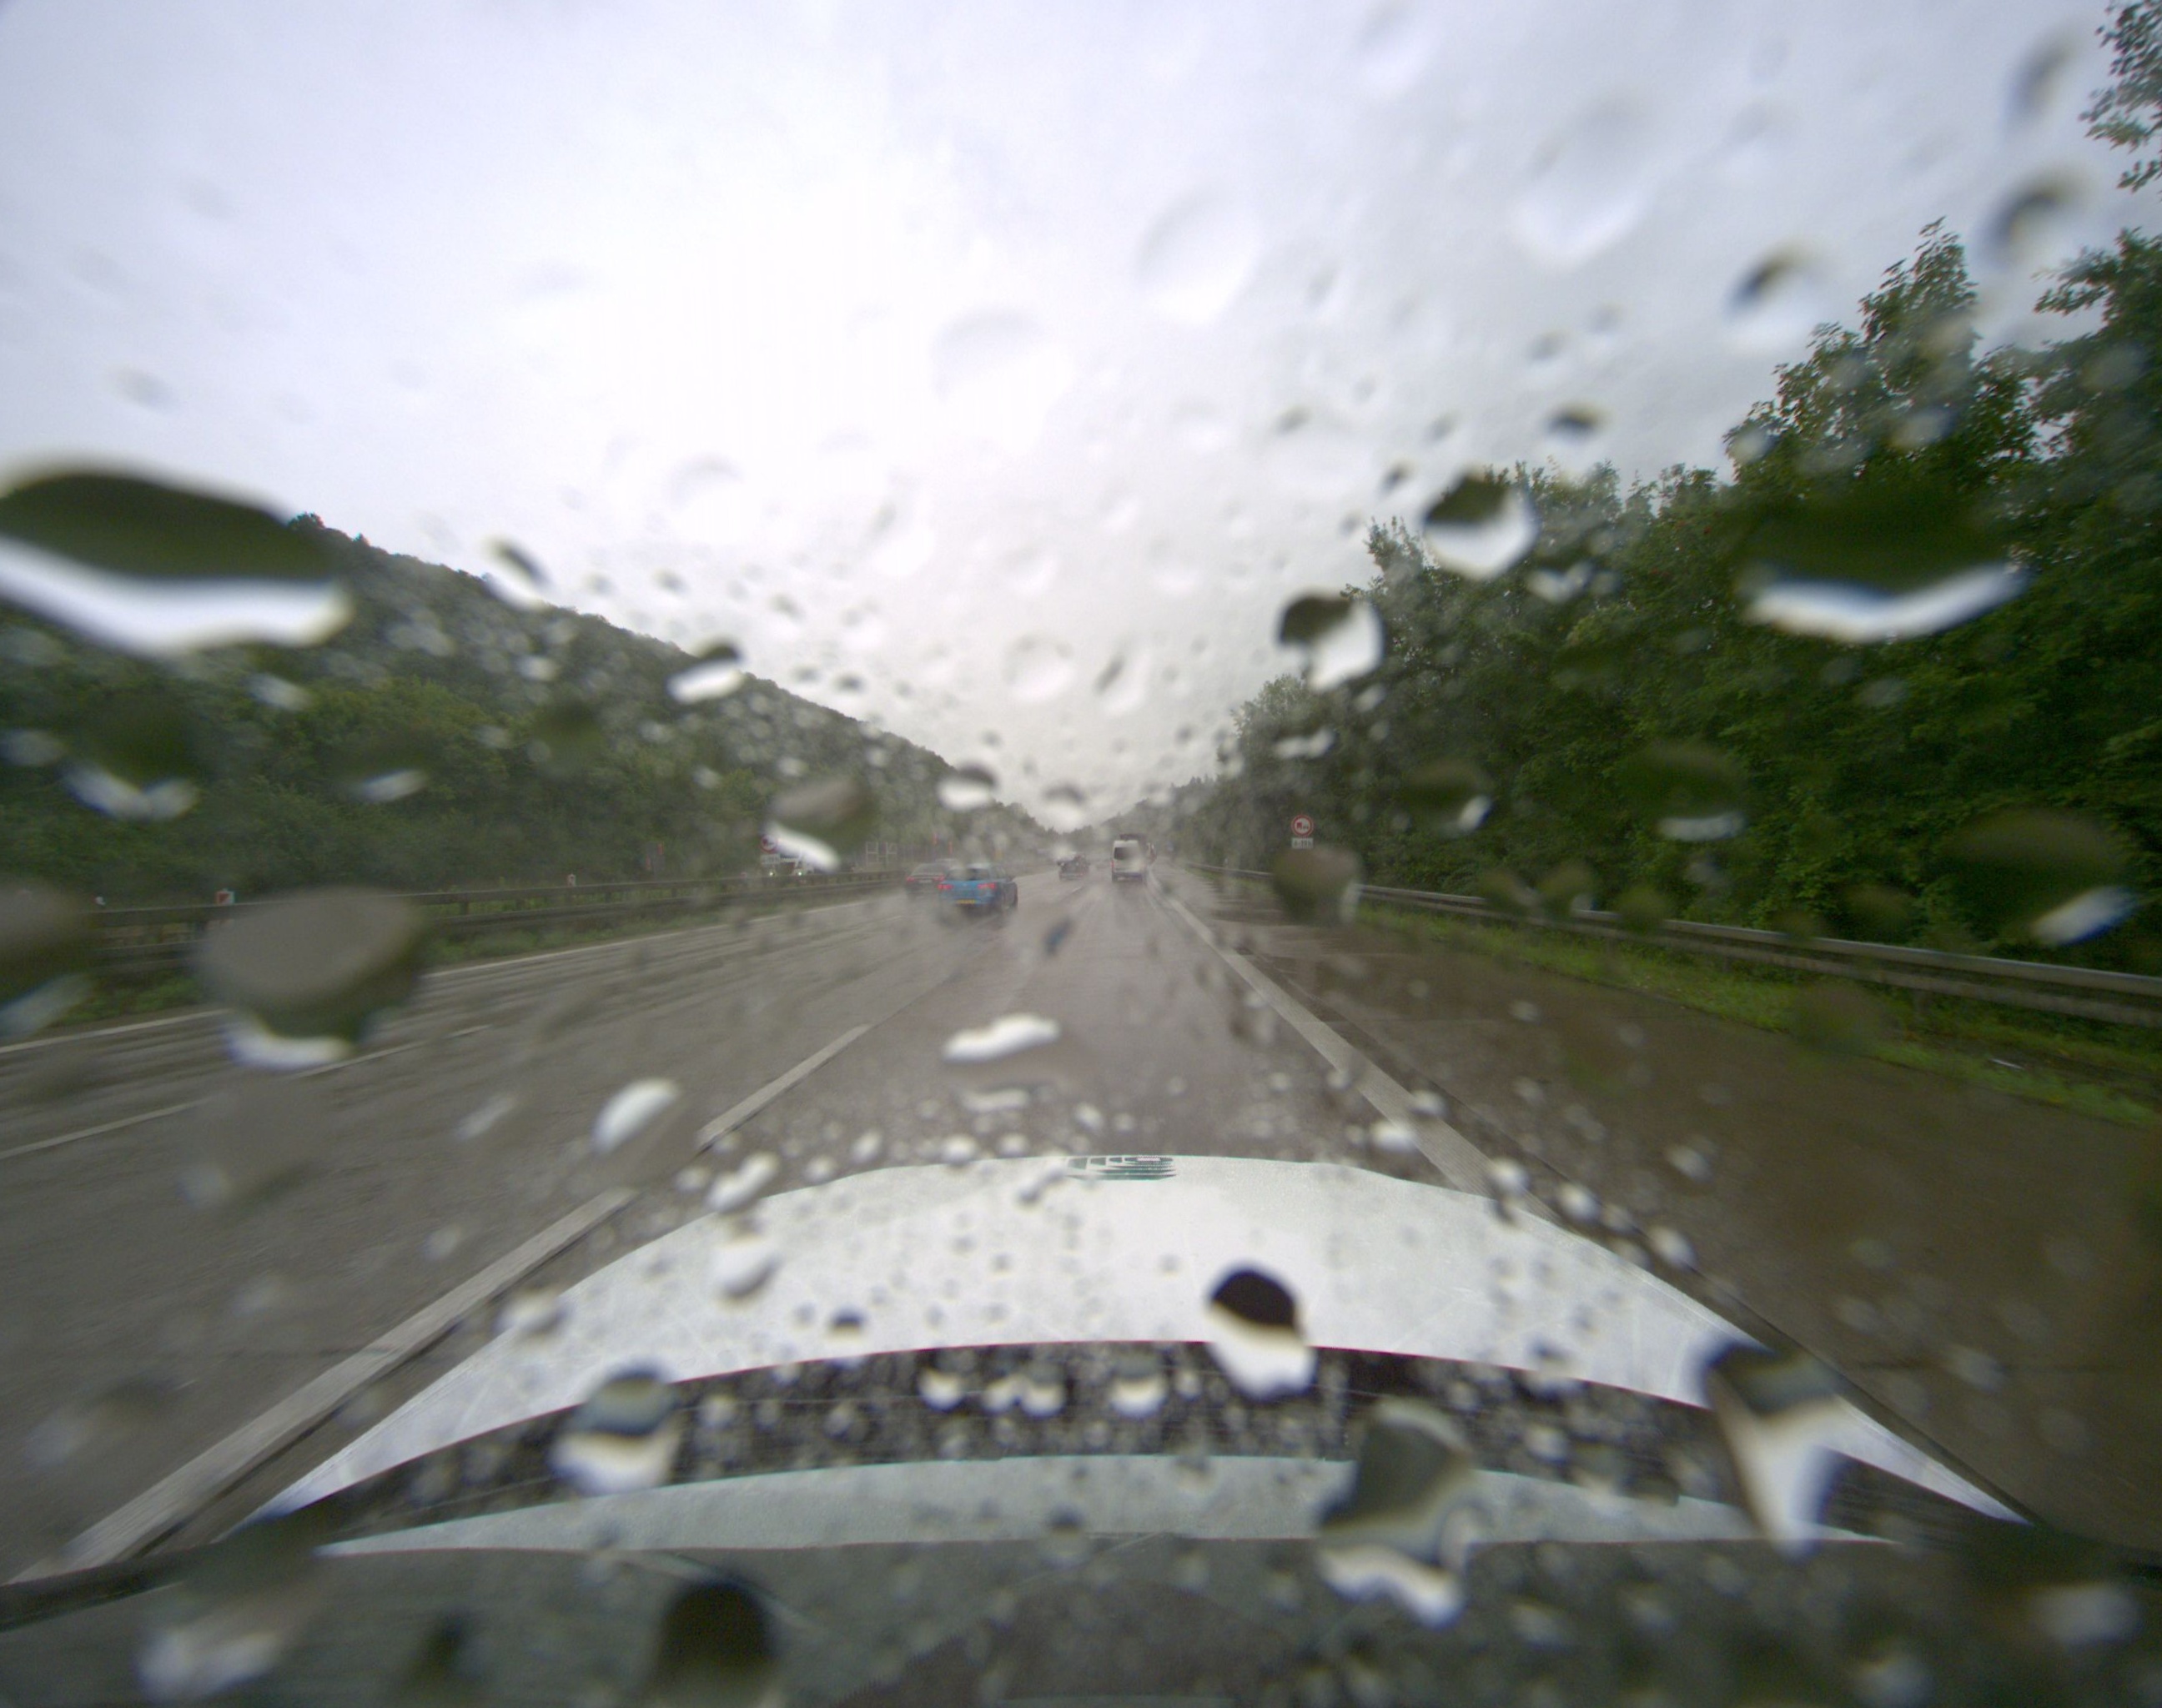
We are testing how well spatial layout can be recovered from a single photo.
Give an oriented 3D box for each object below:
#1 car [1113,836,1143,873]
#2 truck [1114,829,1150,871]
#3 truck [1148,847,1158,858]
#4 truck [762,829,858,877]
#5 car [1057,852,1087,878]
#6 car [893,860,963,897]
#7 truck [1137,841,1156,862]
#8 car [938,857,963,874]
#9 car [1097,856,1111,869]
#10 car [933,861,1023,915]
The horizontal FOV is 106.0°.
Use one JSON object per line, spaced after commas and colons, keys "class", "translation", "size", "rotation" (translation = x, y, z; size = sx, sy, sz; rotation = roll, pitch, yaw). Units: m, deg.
{"class": "car", "translation": [3.157, 0.008, 54.346], "size": [1.891, 2.334, 5.256], "rotation": [0, 0, 4]}
{"class": "truck", "translation": [5.511, -0.546, 86.389], "size": [3.369, 3.967, 8.679], "rotation": [-4, 1, 5]}
{"class": "truck", "translation": [20.073, -0.436, 228.423], "size": [2.574, 2.981, 9.035], "rotation": [0, 0, 4]}
{"class": "truck", "translation": [-20.635, -0.084, 63.023], "size": [2.761, 3.315, 11.528], "rotation": [0, 0, 4]}
{"class": "car", "translation": [-0.629, 0.803, 60.402], "size": [1.860, 1.810, 4.193], "rotation": [0, 0, 4]}
{"class": "car", "translation": [-6.117, 0.940, 32.962], "size": [1.849, 1.339, 4.353], "rotation": [0, 0, 2]}
{"class": "truck", "translation": [12.310, -0.443, 151.840], "size": [3.073, 3.910, 9.073], "rotation": [0, 0, 8]}
{"class": "car", "translation": [-16.015, 1.431, 100.046], "size": [1.969, 2.014, 5.202], "rotation": [0, 0, 3]}
{"class": "car", "translation": [2.886, 1.088, 102.688], "size": [1.607, 1.628, 4.193], "rotation": [0, 0, 4]}
{"class": "car", "translation": [-2.801, 0.880, 23.089], "size": [1.849, 1.339, 4.353], "rotation": [0, 0, 2]}
